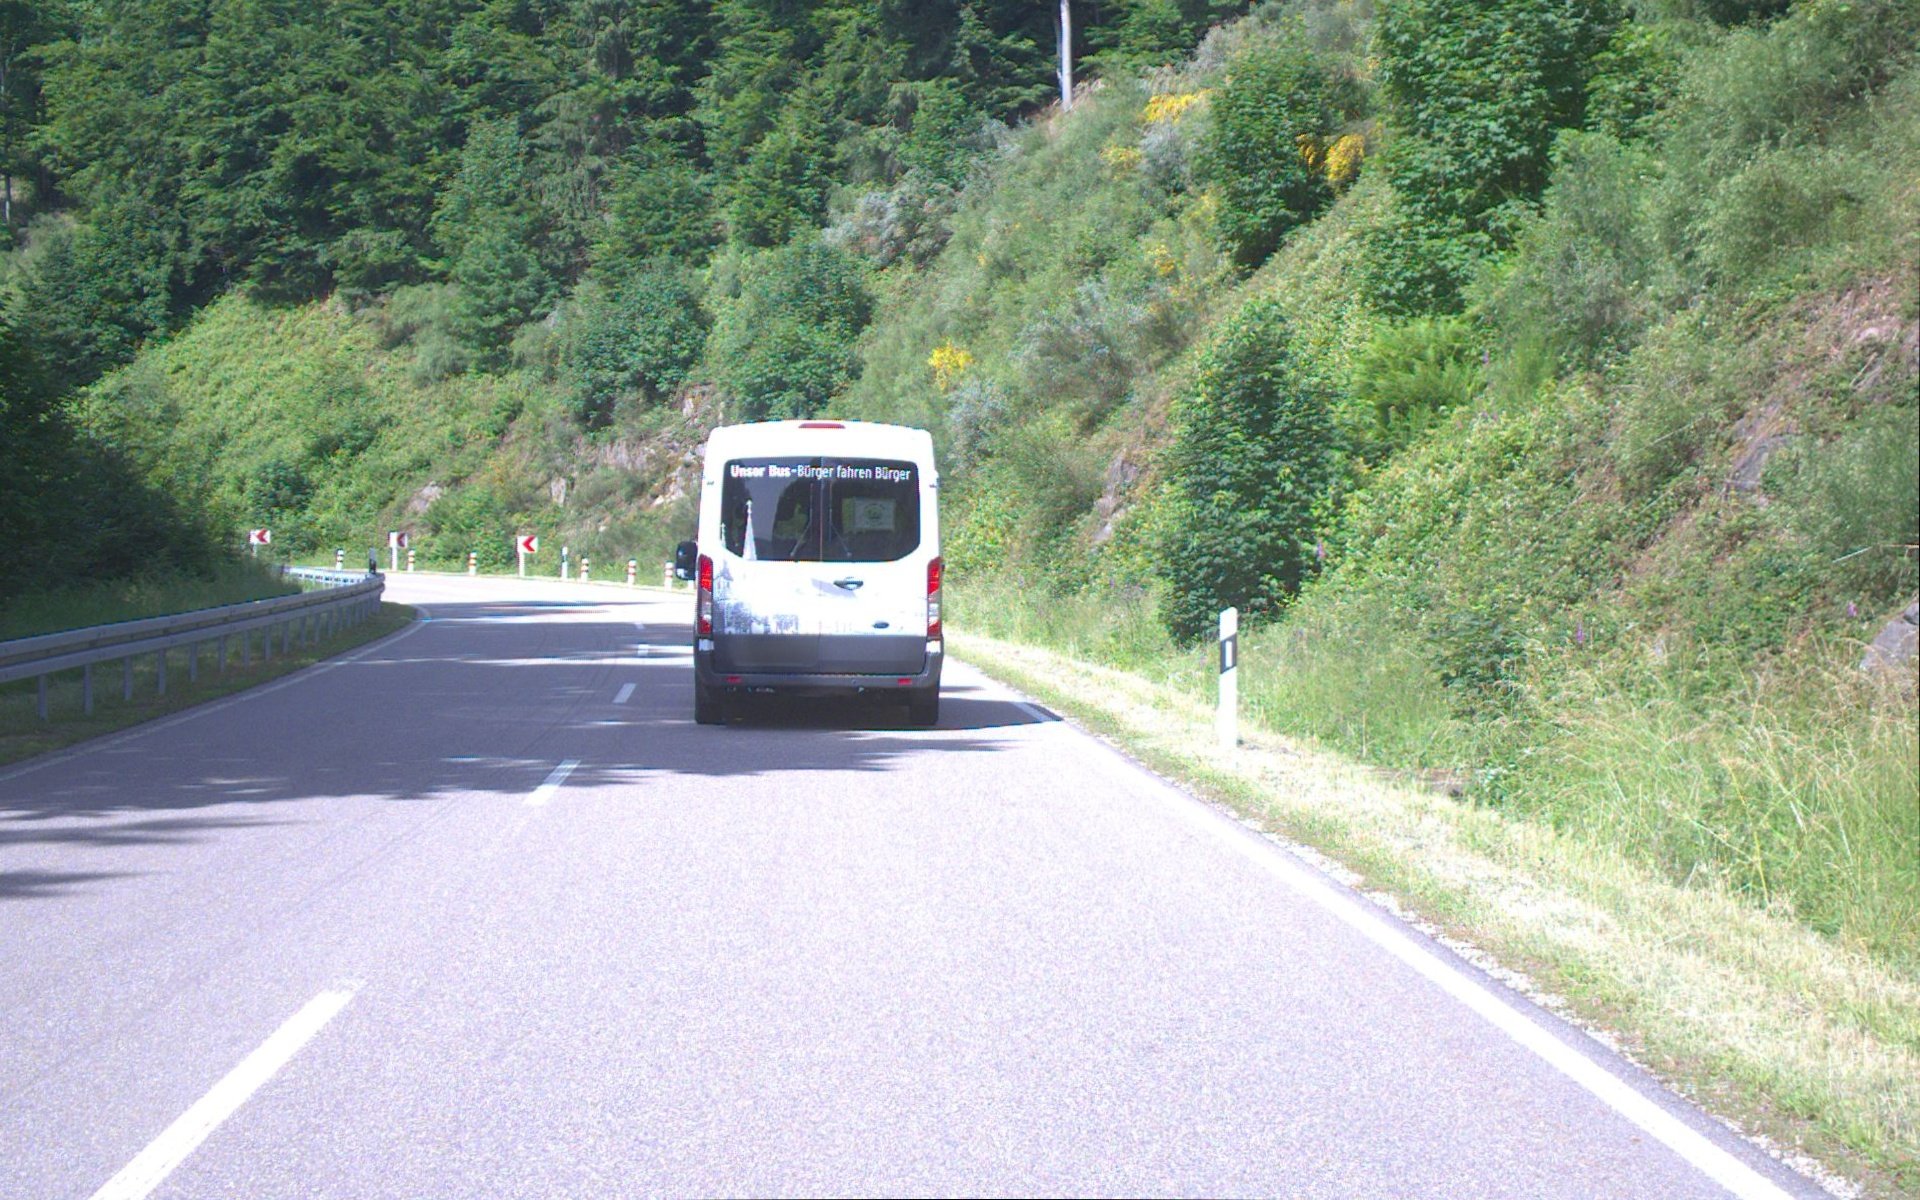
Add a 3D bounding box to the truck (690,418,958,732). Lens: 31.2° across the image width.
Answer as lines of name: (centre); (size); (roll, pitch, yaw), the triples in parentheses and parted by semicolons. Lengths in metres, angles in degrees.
truck: (-1.233, -0.246, 29.416); (2.083, 2.451, 4.876); (0, 1, -4)
